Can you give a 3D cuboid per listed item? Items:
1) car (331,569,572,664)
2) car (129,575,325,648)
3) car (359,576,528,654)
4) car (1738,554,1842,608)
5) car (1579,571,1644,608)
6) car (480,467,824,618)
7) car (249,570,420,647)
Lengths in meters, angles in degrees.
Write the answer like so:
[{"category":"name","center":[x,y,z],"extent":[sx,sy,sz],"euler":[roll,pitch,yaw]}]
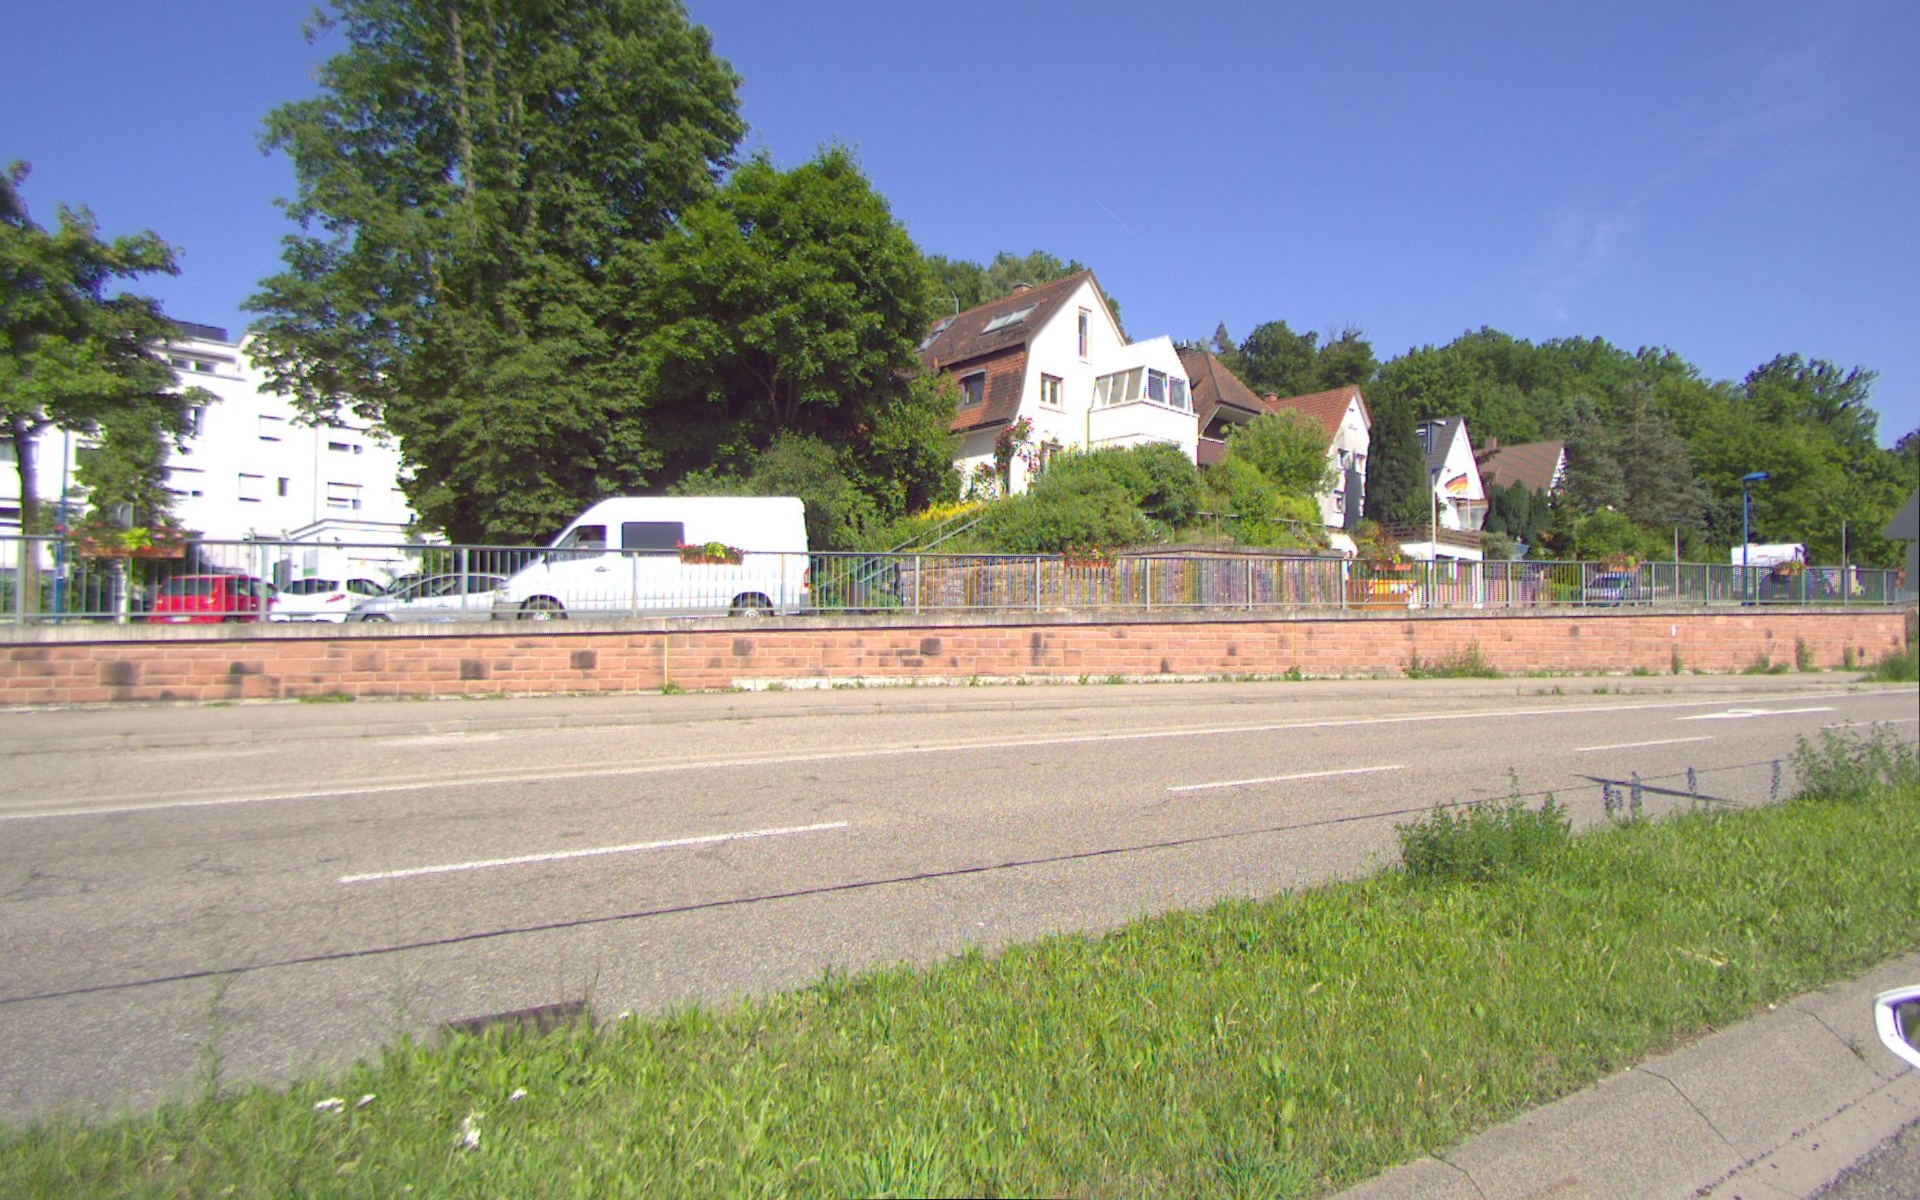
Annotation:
[{"category":"car","center":[-10.327,0.345,20.640],"extent":[3.922,1.813,1.921],"euler":[1,-1,-2]},{"category":"car","center":[-17.408,0.206,24.129],"extent":[1.877,1.581,3.998],"euler":[1,1,-2]},{"category":"car","center":[-12.156,0.278,23.960],"extent":[1.961,1.694,3.999],"euler":[1,1,0]},{"category":"car","center":[31.822,-0.739,38.469],"extent":[4.686,1.946,2.006],"euler":[0,2,-37]},{"category":"car","center":[31.159,-0.479,47.984],"extent":[1.875,1.651,3.976],"euler":[0,-1,44]},{"category":"car","center":[-5.493,-0.962,18.415],"extent":[5.692,2.477,2.092],"euler":[0,2,-18]},{"category":"car","center":[-15.013,0.135,24.384],"extent":[1.877,1.724,3.996],"euler":[0,2,-5]}]
